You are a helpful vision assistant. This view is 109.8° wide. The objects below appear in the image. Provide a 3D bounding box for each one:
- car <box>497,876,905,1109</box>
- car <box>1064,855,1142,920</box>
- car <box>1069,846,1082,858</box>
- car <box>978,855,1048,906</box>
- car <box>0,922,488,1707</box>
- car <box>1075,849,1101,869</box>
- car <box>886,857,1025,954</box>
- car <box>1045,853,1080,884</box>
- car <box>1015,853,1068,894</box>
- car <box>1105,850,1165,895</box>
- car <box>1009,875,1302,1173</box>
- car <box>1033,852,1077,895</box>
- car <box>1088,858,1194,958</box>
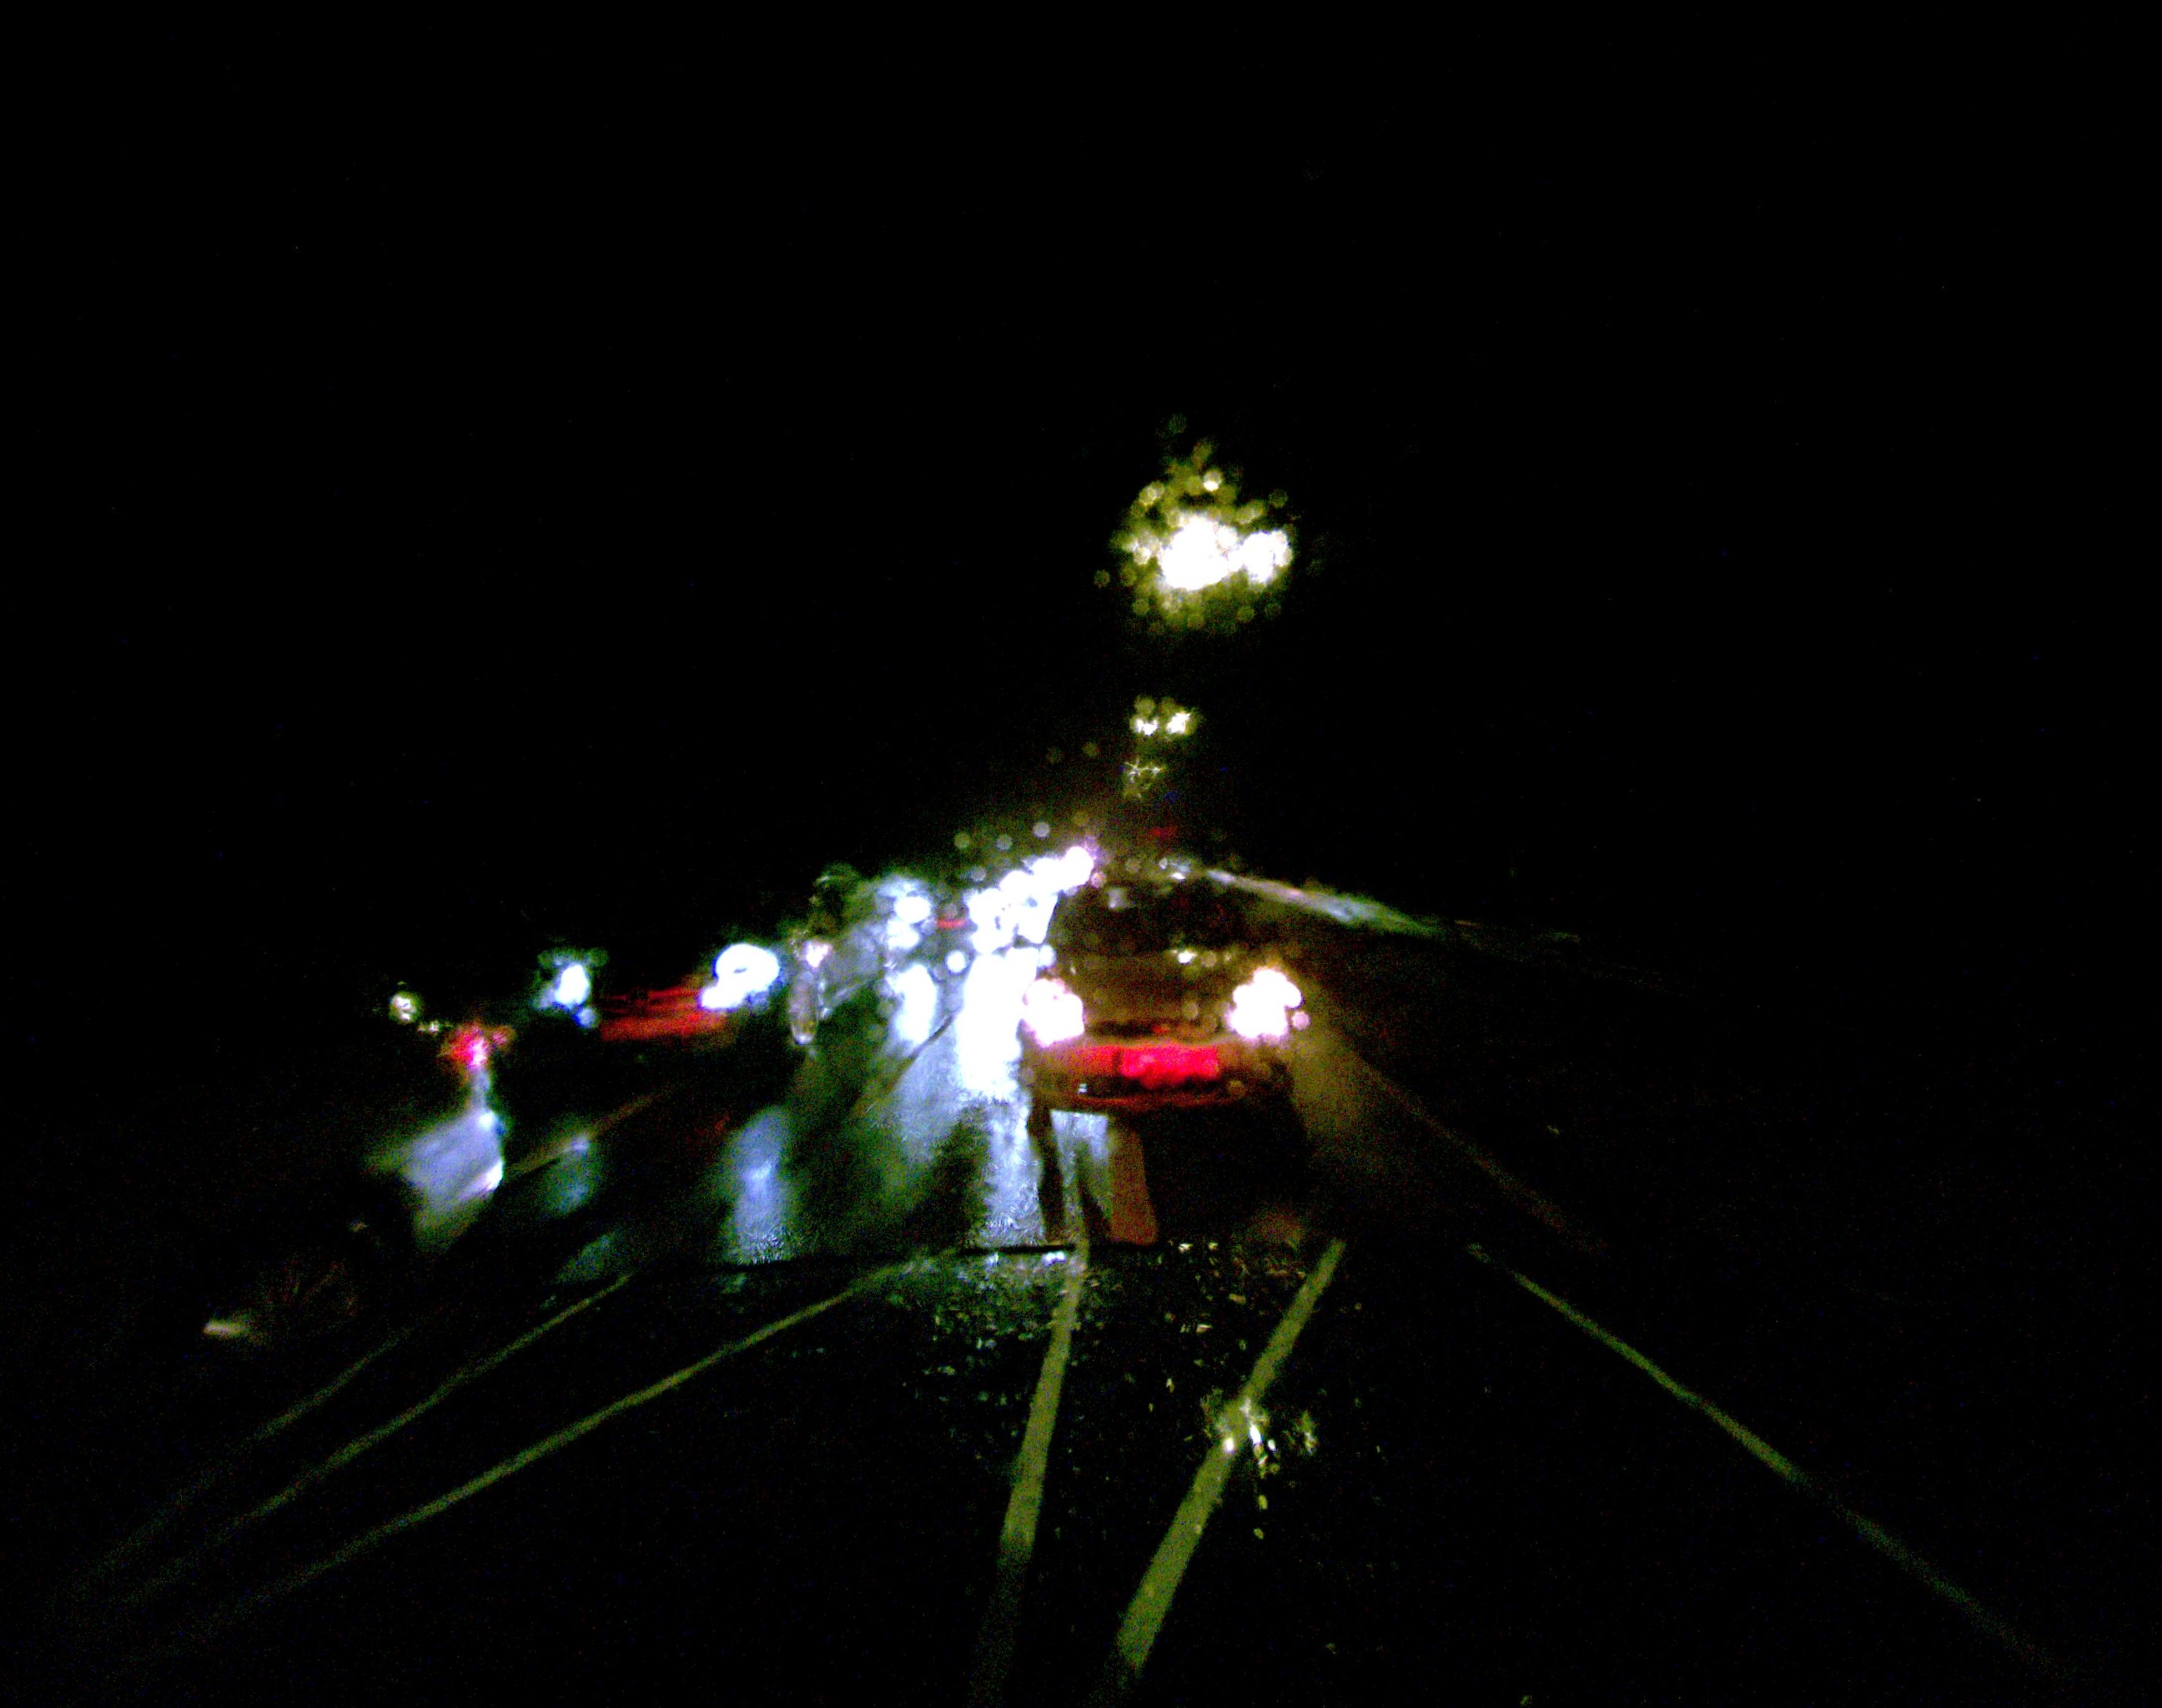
[{"bbox_3d":[-3.143,1.035,7.391,1.743,1.409,4.139,-2,1,1],"label":"car"},{"bbox_3d":[0.575,0.837,20.631,1.838,1.417,3.698,-4,1,1],"label":"car"},{"bbox_3d":[-0.923,-0.405,129.616,1.998,2.002,3.999,-1,1,0],"label":"car"},{"bbox_3d":[-2.306,0.875,26.983,1.998,1.589,4.391,-1,1,1],"label":"car"},{"bbox_3d":[-3.084,1.058,0.541,1.711,1.513,4.414,-2,1,1],"label":"car"},{"bbox_3d":[0.600,0.386,62.417,1.998,1.589,4.391,-1,1,1],"label":"car"},{"bbox_3d":[-2.353,0.912,15.462,1.998,1.589,4.391,-1,1,1],"label":"car"},{"bbox_3d":[-1.139,0.888,47.809,1.998,1.789,4.000,-1,0,1],"label":"car"},{"bbox_3d":[-1.623,0.795,32.964,1.998,1.589,4.391,-1,1,1],"label":"car"},{"bbox_3d":[1.976,0.639,28.966,1.998,1.497,3.999,-2,1,1],"label":"car"},{"bbox_3d":[0.417,0.944,5.695,1.497,1.416,3.389,-2,0,1],"label":"car"},{"bbox_3d":[-1.292,0.974,39.631,1.998,2.002,3.999,-2,1,1],"label":"car"},{"bbox_3d":[0.975,0.869,13.830,1.606,1.417,3.389,-4,1,1],"label":"car"}]
